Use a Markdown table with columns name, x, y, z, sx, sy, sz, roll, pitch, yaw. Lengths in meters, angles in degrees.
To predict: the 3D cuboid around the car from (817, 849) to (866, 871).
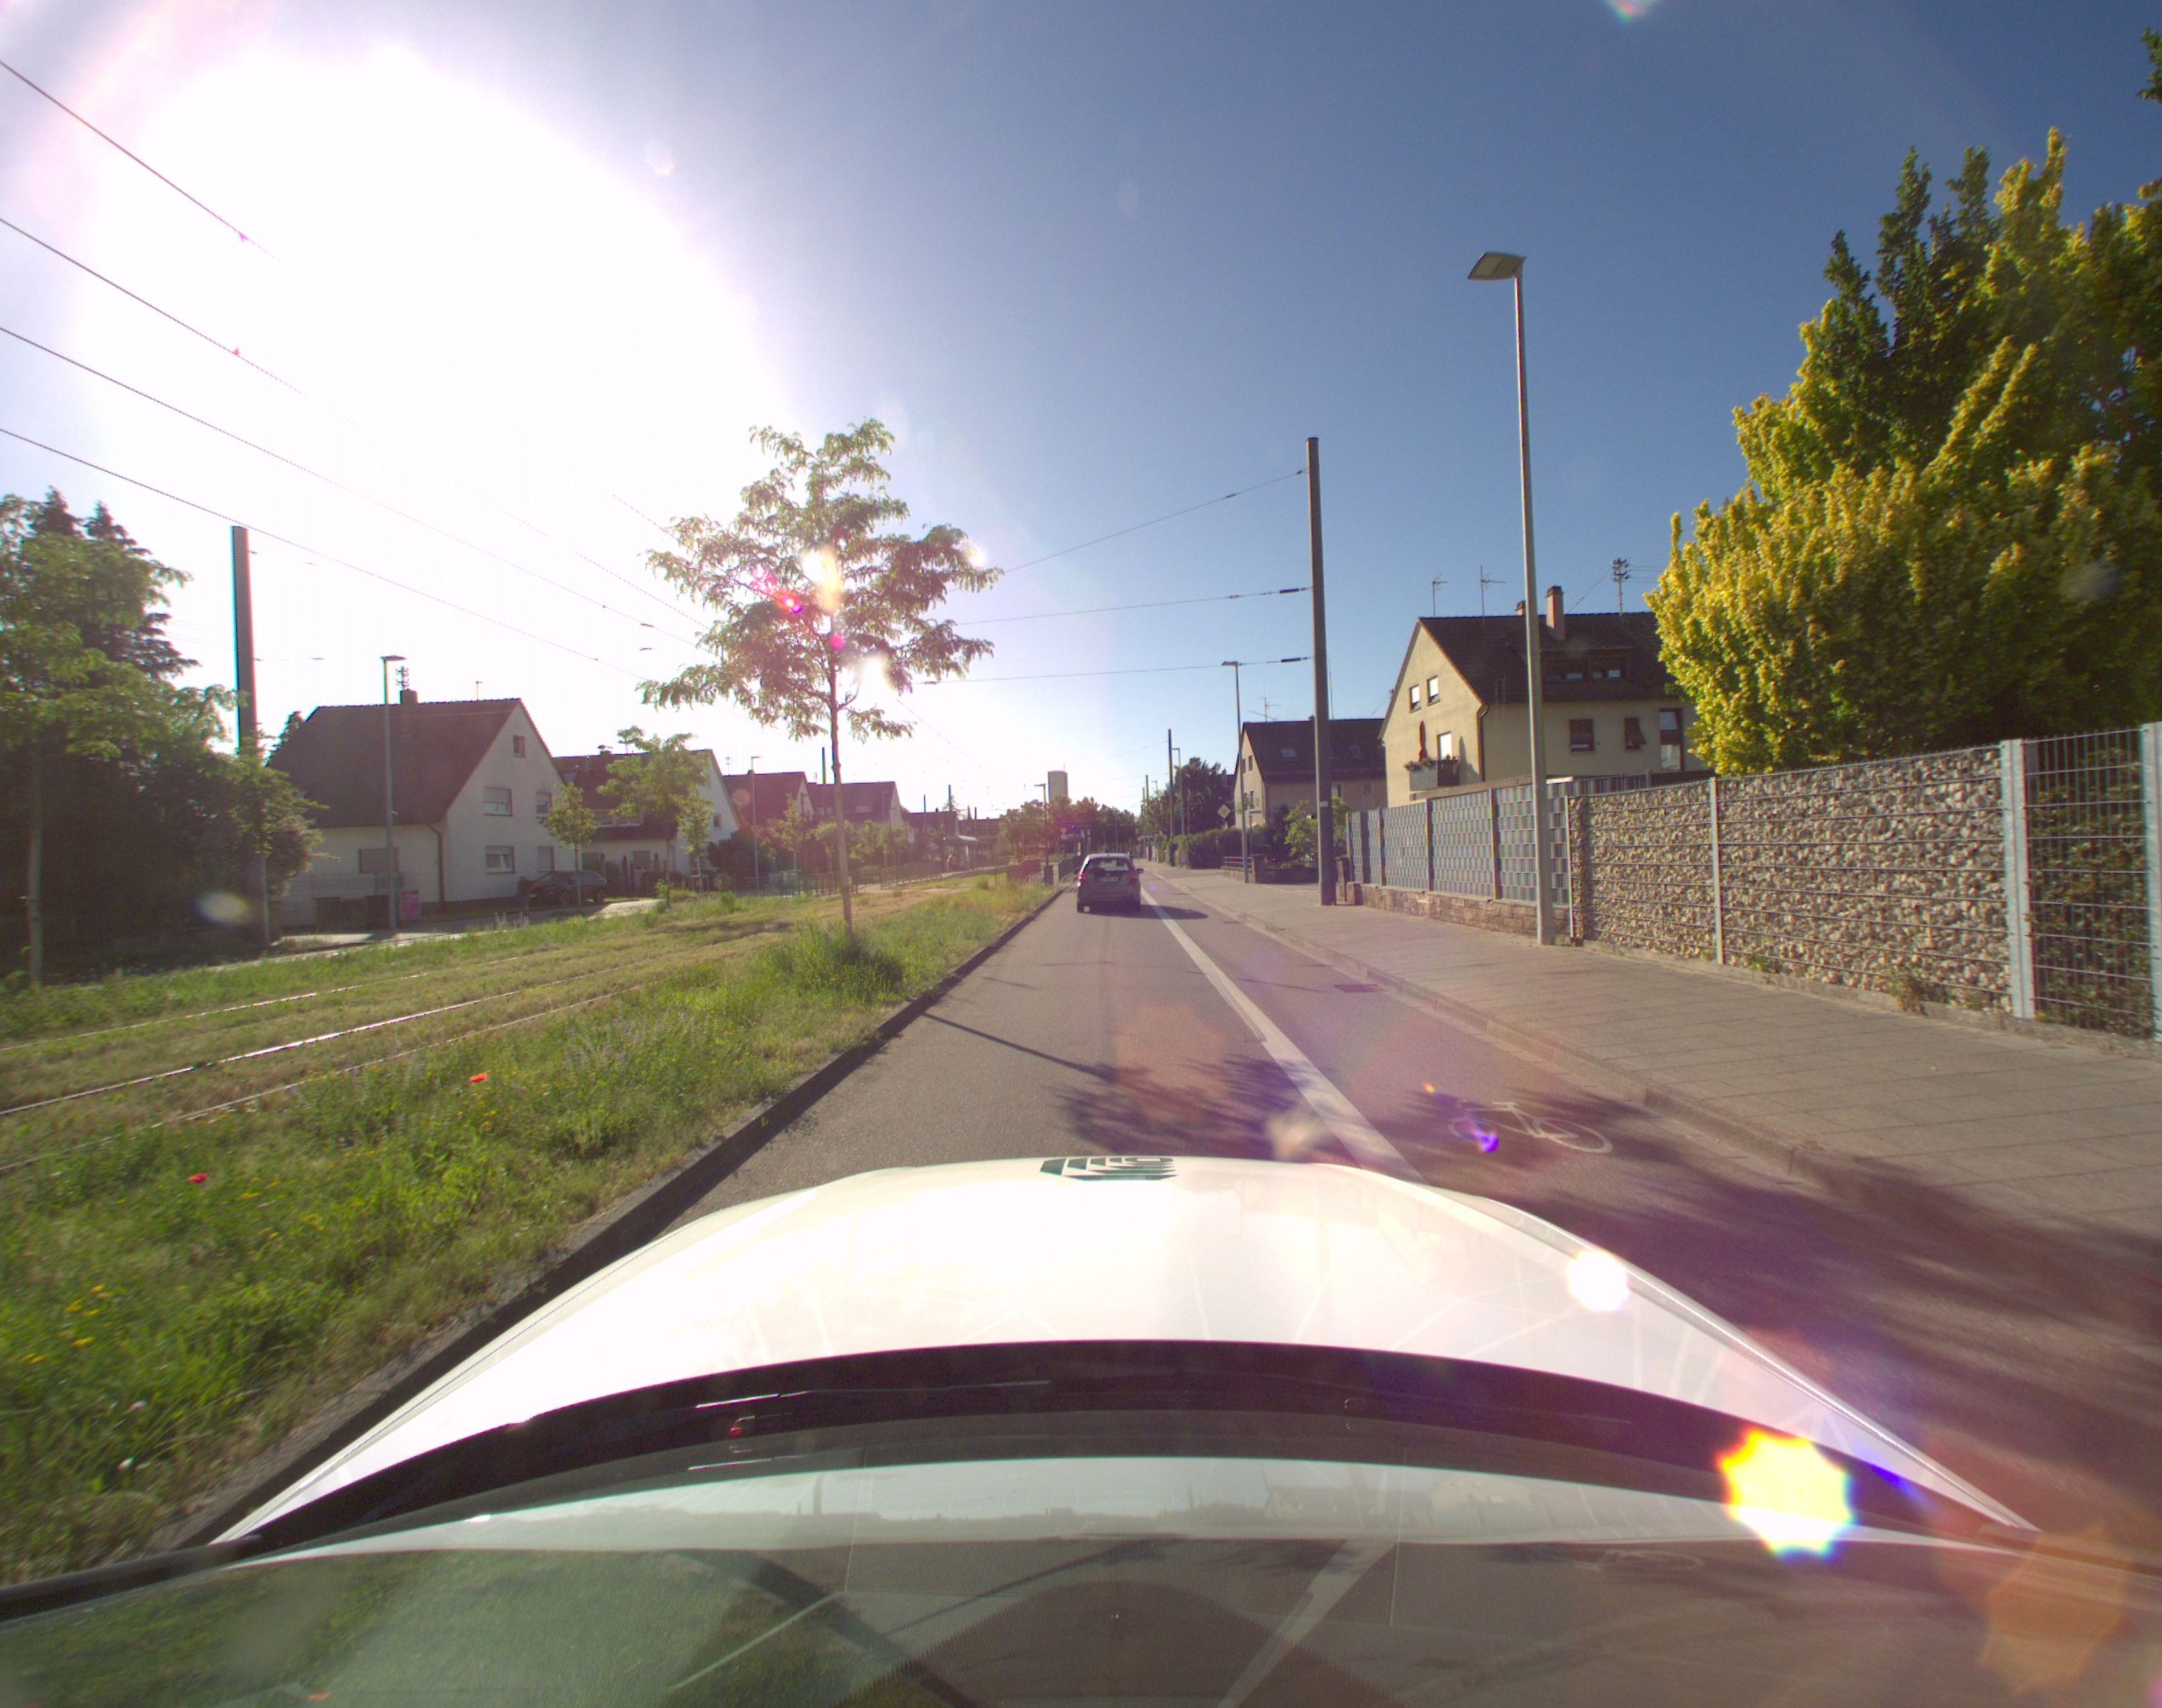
| name | x | y | z | sx | sy | sz | roll | pitch | yaw |
| --- | --- | --- | --- | --- | --- | --- | --- | --- | --- |
| car | -21.936 | 0.561 | 74.686 | 3.982 | 1.970 | 1.929 | -1 | -1 | -6 |

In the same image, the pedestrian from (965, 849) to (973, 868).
| name | x | y | z | sx | sy | sz | roll | pitch | yaw |
| --- | --- | --- | --- | --- | --- | --- | --- | --- | --- |
| pedestrian | -10.320 | 0.444 | 74.958 | 0.498 | 1.696 | 0.772 | -4 | 0 | 2 |

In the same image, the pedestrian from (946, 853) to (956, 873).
| name | x | y | z | sx | sy | sz | roll | pitch | yaw |
| --- | --- | --- | --- | --- | --- | --- | --- | --- | --- |
| pedestrian | -10.545 | 0.727 | 65.966 | 0.673 | 1.535 | 0.748 | -2 | 0 | -3 |

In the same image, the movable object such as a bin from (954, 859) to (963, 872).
| name | x | y | z | sx | sy | sz | roll | pitch | yaw |
| --- | --- | --- | --- | --- | --- | --- | --- | --- | --- |
| movable object such as a bin | -9.931 | 0.917 | 66.056 | 0.545 | 0.988 | 0.741 | -2 | 0 | -2 |

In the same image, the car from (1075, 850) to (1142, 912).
| name | x | y | z | sx | sy | sz | roll | pitch | yaw |
| --- | --- | --- | --- | --- | --- | --- | --- | --- | --- |
| car | 0.732 | 0.694 | 22.299 | 1.664 | 1.536 | 3.488 | -1 | 0 | 1 |

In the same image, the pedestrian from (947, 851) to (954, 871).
| name | x | y | z | sx | sy | sz | roll | pitch | yaw |
| --- | --- | --- | --- | --- | --- | --- | --- | --- | --- |
| pedestrian | -10.821 | 0.579 | 67.539 | 0.518 | 1.708 | 0.580 | -2 | 0 | -3 |

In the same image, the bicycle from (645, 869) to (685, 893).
| name | x | y | z | sx | sy | sz | roll | pitch | yaw |
| --- | --- | --- | --- | --- | --- | --- | --- | --- | --- |
| bicycle | -25.476 | 1.677 | 49.918 | 1.985 | 1.365 | 0.704 | -2 | 0 | -5 |

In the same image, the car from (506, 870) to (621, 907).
| name | x | y | z | sx | sy | sz | roll | pitch | yaw |
| --- | --- | --- | --- | --- | --- | --- | --- | --- | --- |
| car | -24.253 | 1.557 | 38.458 | 1.927 | 1.450 | 5.165 | -2 | 0 | 2 |

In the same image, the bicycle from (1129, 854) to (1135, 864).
| name | x | y | z | sx | sy | sz | roll | pitch | yaw |
| --- | --- | --- | --- | --- | --- | --- | --- | --- | --- |
| bicycle | 5.173 | 0.507 | 82.716 | 0.473 | 0.961 | 1.658 | -1 | -1 | 2 |

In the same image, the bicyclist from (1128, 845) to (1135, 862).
| name | x | y | z | sx | sy | sz | roll | pitch | yaw |
| --- | --- | --- | --- | --- | --- | --- | --- | --- | --- |
| bicyclist | 5.118 | -0.058 | 82.516 | 0.596 | 1.701 | 0.684 | -1 | -1 | 2 |

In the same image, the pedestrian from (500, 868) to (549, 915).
| name | x | y | z | sx | sy | sz | roll | pitch | yaw |
| --- | --- | --- | --- | --- | --- | --- | --- | --- | --- |
| pedestrian | -20.364 | 1.361 | 29.818 | 0.961 | 1.640 | 1.086 | -2 | 0 | 2 |
